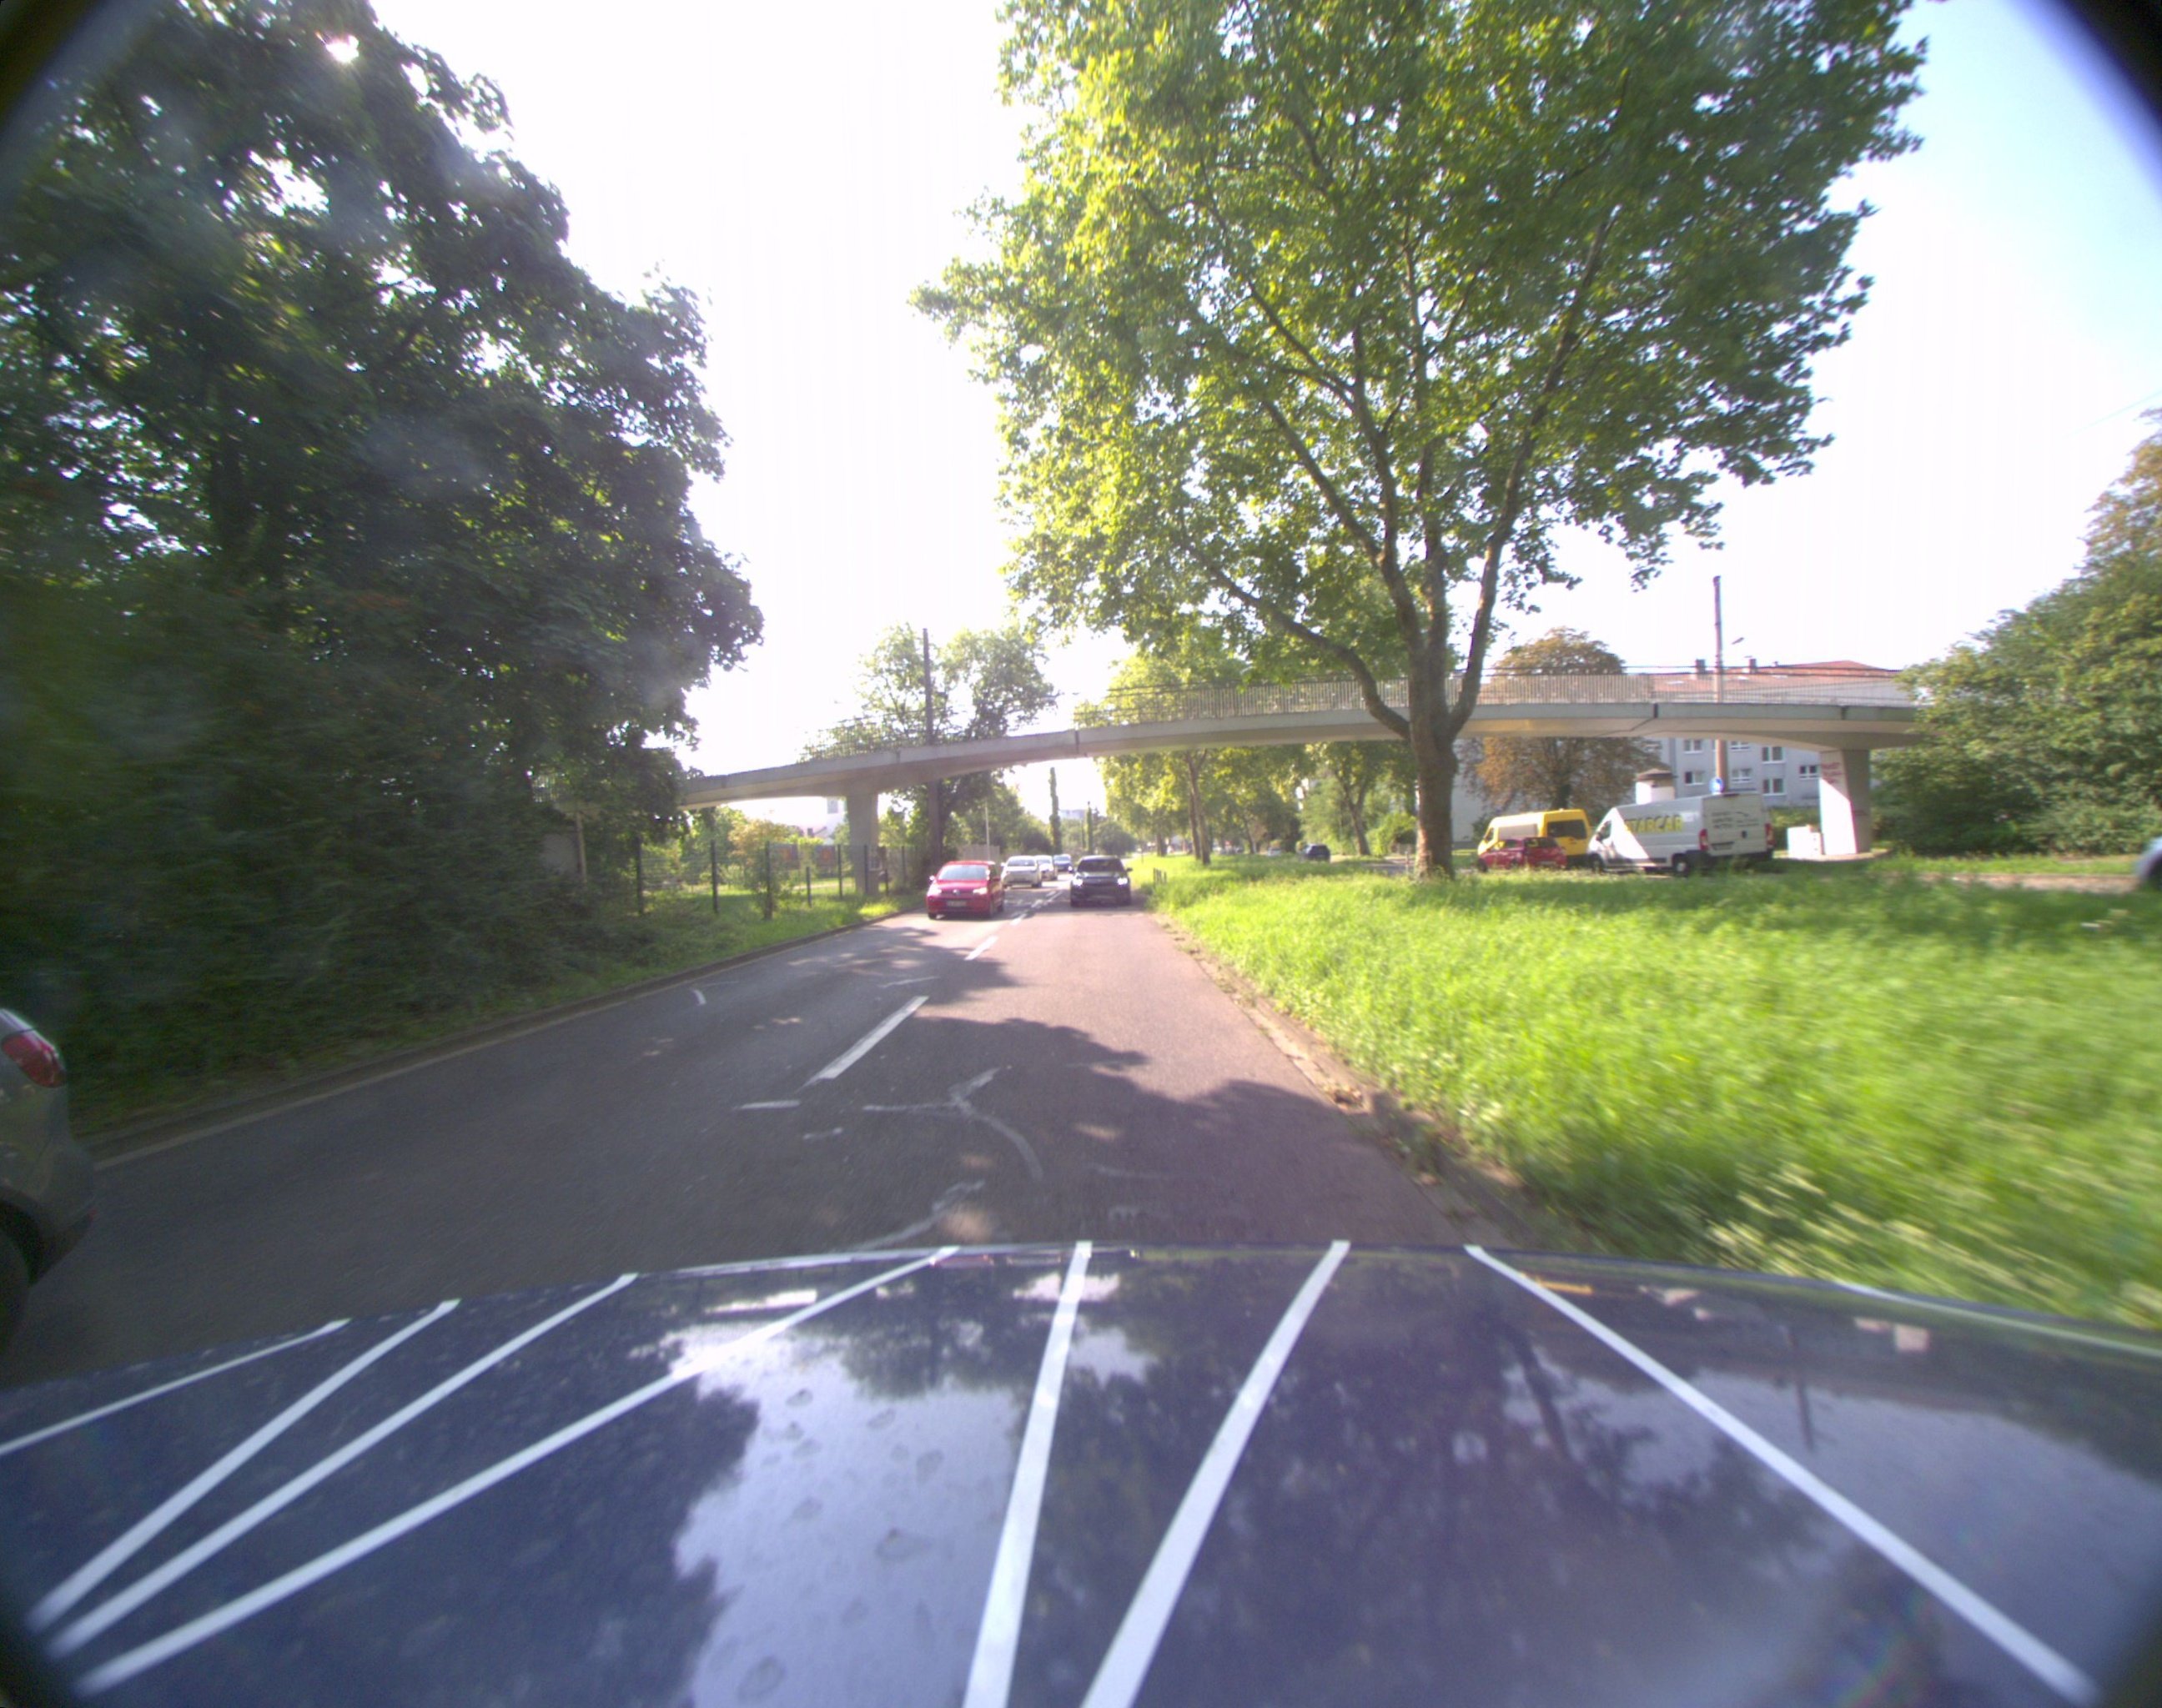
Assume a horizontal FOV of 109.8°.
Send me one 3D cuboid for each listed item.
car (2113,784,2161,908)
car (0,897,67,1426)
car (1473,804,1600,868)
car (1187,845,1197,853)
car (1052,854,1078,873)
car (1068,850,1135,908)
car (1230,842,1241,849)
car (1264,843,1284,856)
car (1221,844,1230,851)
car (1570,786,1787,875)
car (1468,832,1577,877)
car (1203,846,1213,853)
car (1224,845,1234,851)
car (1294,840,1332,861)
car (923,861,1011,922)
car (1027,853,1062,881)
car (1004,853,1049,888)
[{"bbox_3d":[15.855,-0.141,8.651,1.806,1.709,4.719,-2,0,1],"label":"car"},{"bbox_3d":[-4.060,0.976,0.417,1.649,1.547,3.898,-3,1,1],"label":"car"},{"bbox_3d":[19.883,-0.756,33.576,2.213,2.465,6.061,-3,1,4],"label":"car"},{"bbox_3d":[23.669,-1.054,162.204,1.779,1.607,4.857,-3,1,4],"label":"car"},{"bbox_3d":[-1.229,0.730,60.507,1.649,1.378,3.899,-3,1,4],"label":"car"},{"bbox_3d":[0.714,0.716,23.768,1.862,1.572,3.612,-3,1,4],"label":"car"},{"bbox_3d":[28.942,-1.652,142.404,1.612,1.284,3.524,-3,1,6],"label":"car"},{"bbox_3d":[23.736,-0.536,93.549,1.649,1.471,3.899,-3,1,4],"label":"car"},{"bbox_3d":[30.212,-1.335,159.069,1.612,1.398,3.524,-2,0,6],"label":"car"},{"bbox_3d":[19.505,-0.716,25.366,2.213,2.416,6.265,-5,1,1],"label":"car"},{"bbox_3d":[16.697,0.000,28.994,1.695,1.524,4.069,-3,0,-1],"label":"car"},{"bbox_3d":[26.966,-1.013,161.749,1.649,1.356,3.899,-3,0,3],"label":"car"},{"bbox_3d":[29.972,-1.225,153.952,1.612,1.284,3.524,-3,1,6],"label":"car"},{"bbox_3d":[18.288,-0.295,59.967,1.791,1.524,4.456,-3,1,3],"label":"car"},{"bbox_3d":[-2.984,0.945,20.524,1.578,1.390,3.472,-2,1,4],"label":"car"},{"bbox_3d":[-2.167,0.776,46.089,1.649,1.467,3.899,-3,1,4],"label":"car"},{"bbox_3d":[-2.608,0.760,37.320,1.649,1.467,3.899,-3,1,3],"label":"car"}]
